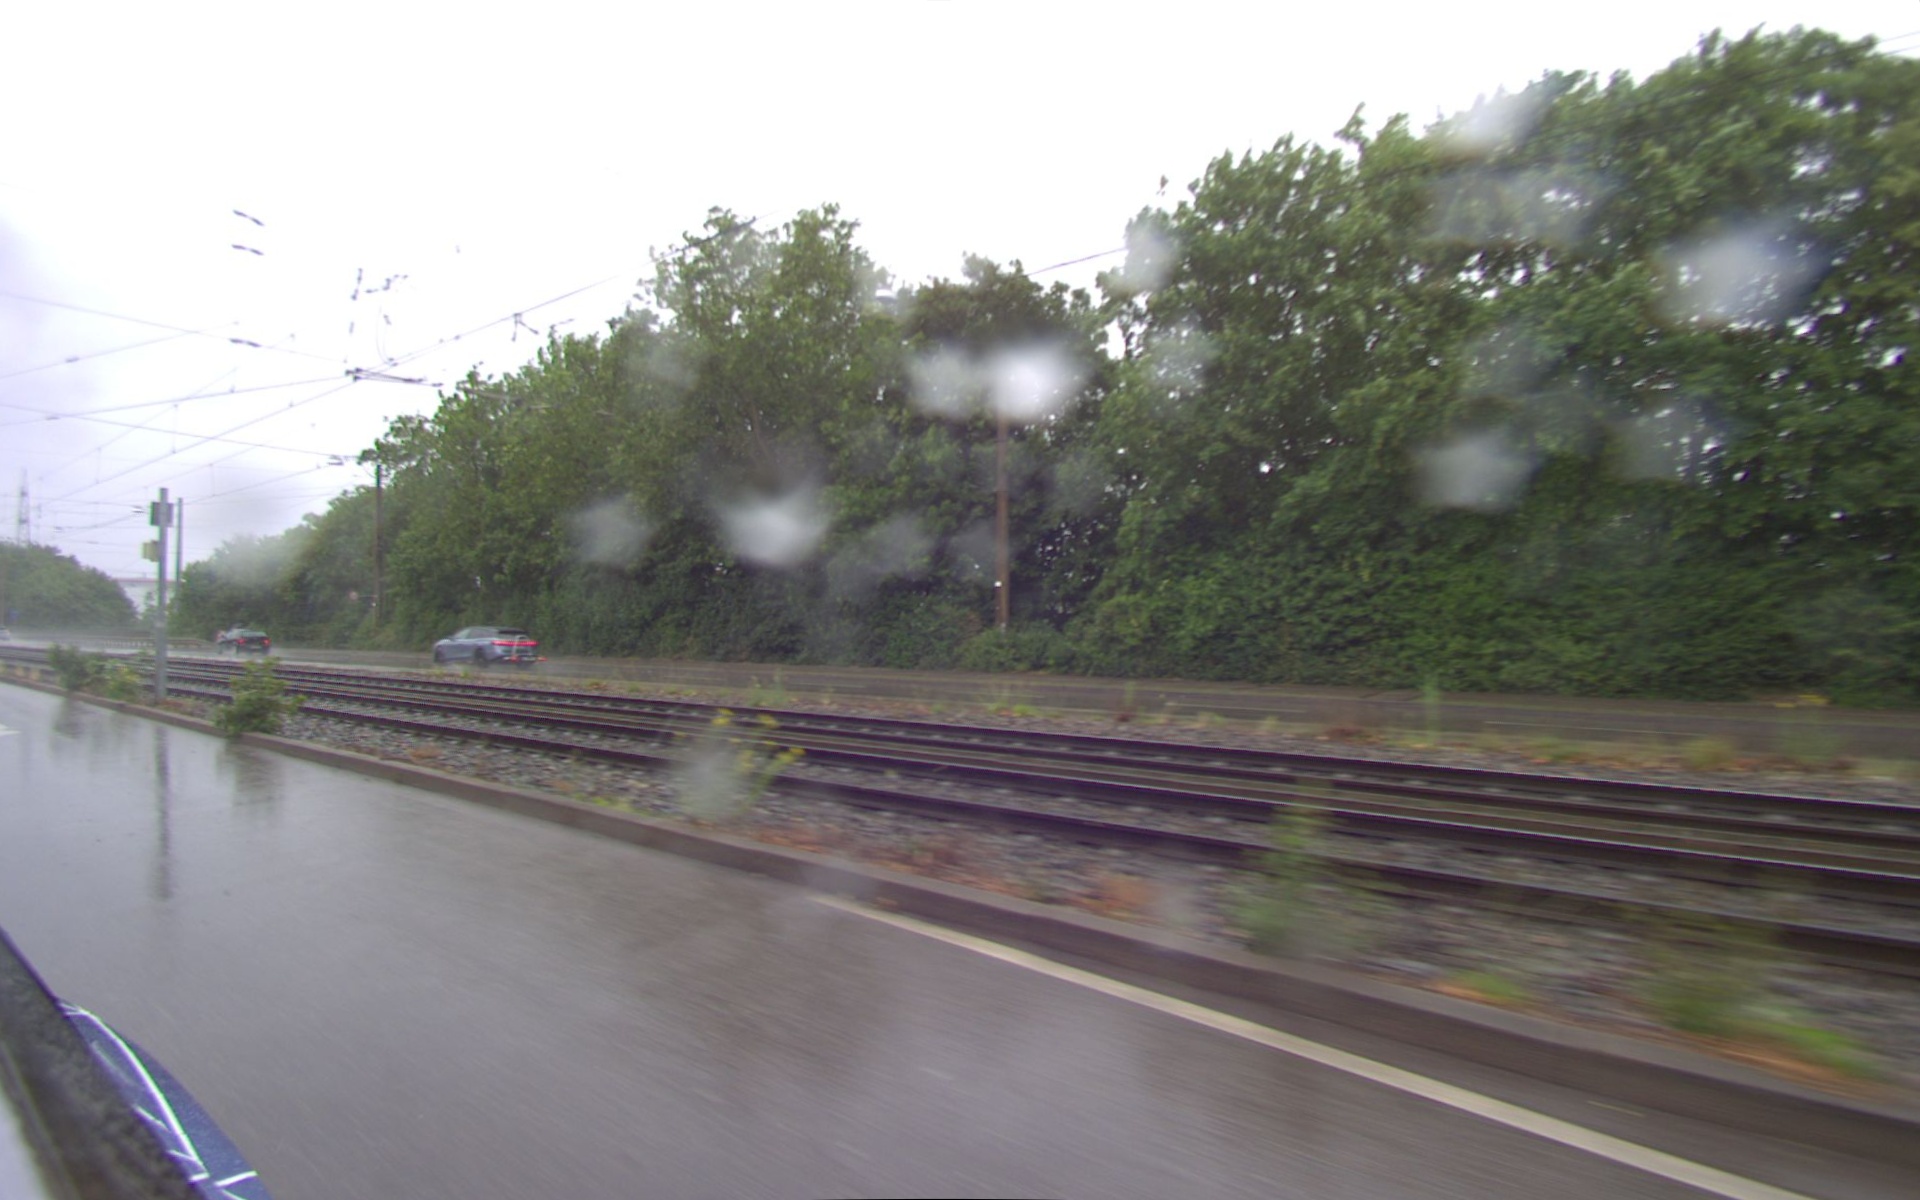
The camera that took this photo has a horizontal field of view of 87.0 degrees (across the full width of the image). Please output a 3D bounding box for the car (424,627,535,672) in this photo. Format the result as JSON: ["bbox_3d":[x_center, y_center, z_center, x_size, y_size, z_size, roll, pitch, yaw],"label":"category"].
[{"bbox_3d":[-17.653,1.774,37.047,4.949,1.535,1.674,-1,-2,39],"label":"car"}]

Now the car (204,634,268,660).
[{"bbox_3d":[-39.962,2.551,55.852,4.375,1.340,1.754,-1,-2,39],"label":"car"}]

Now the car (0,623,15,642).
[{"bbox_3d":[-97.468,3.313,102.448,3.996,1.796,1.974,-2,2,39],"label":"car"}]
